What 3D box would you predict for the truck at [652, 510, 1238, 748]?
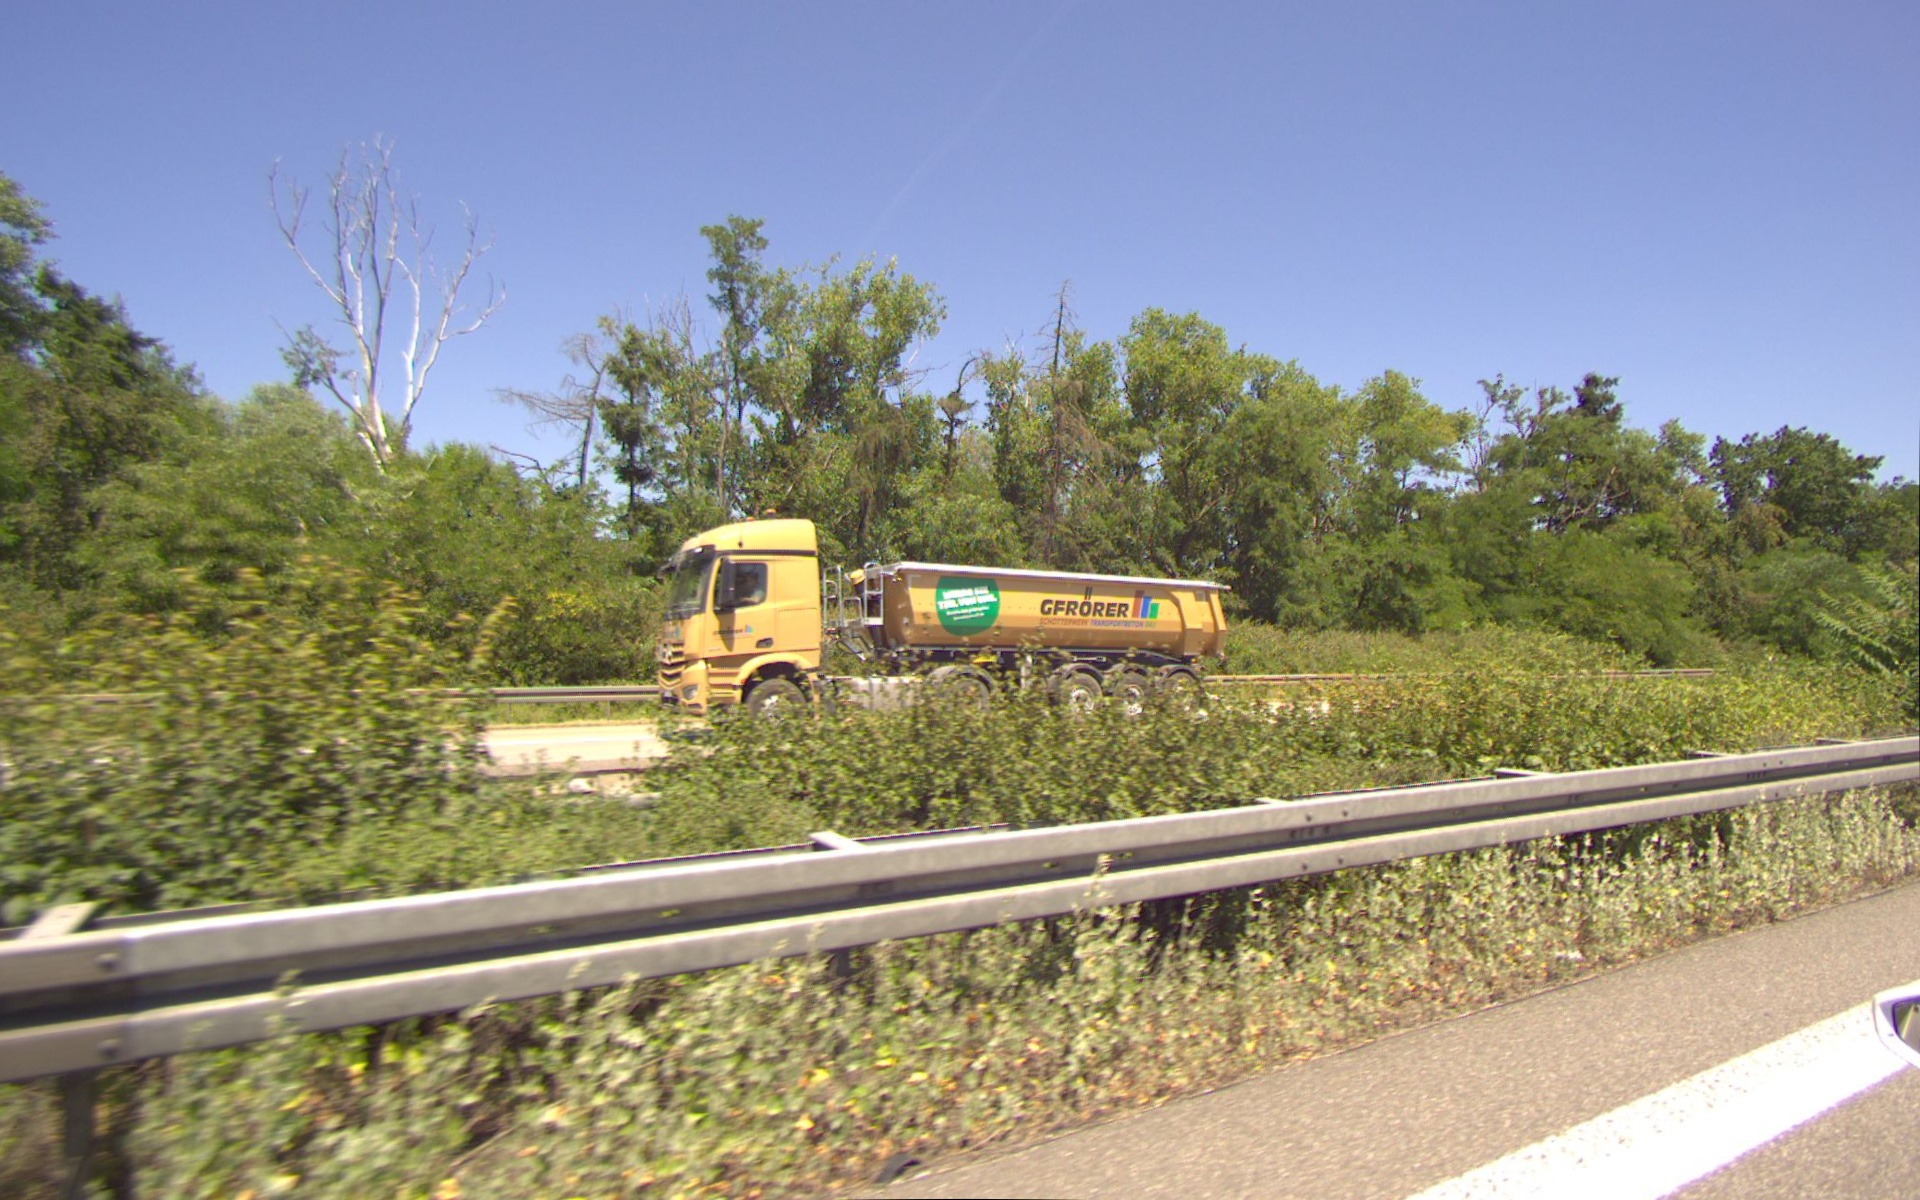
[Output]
[{"bbox_3d":[0.252,0.660,19.608,11.706,3.681,2.527,2,-3,-30],"label":"truck"}]
